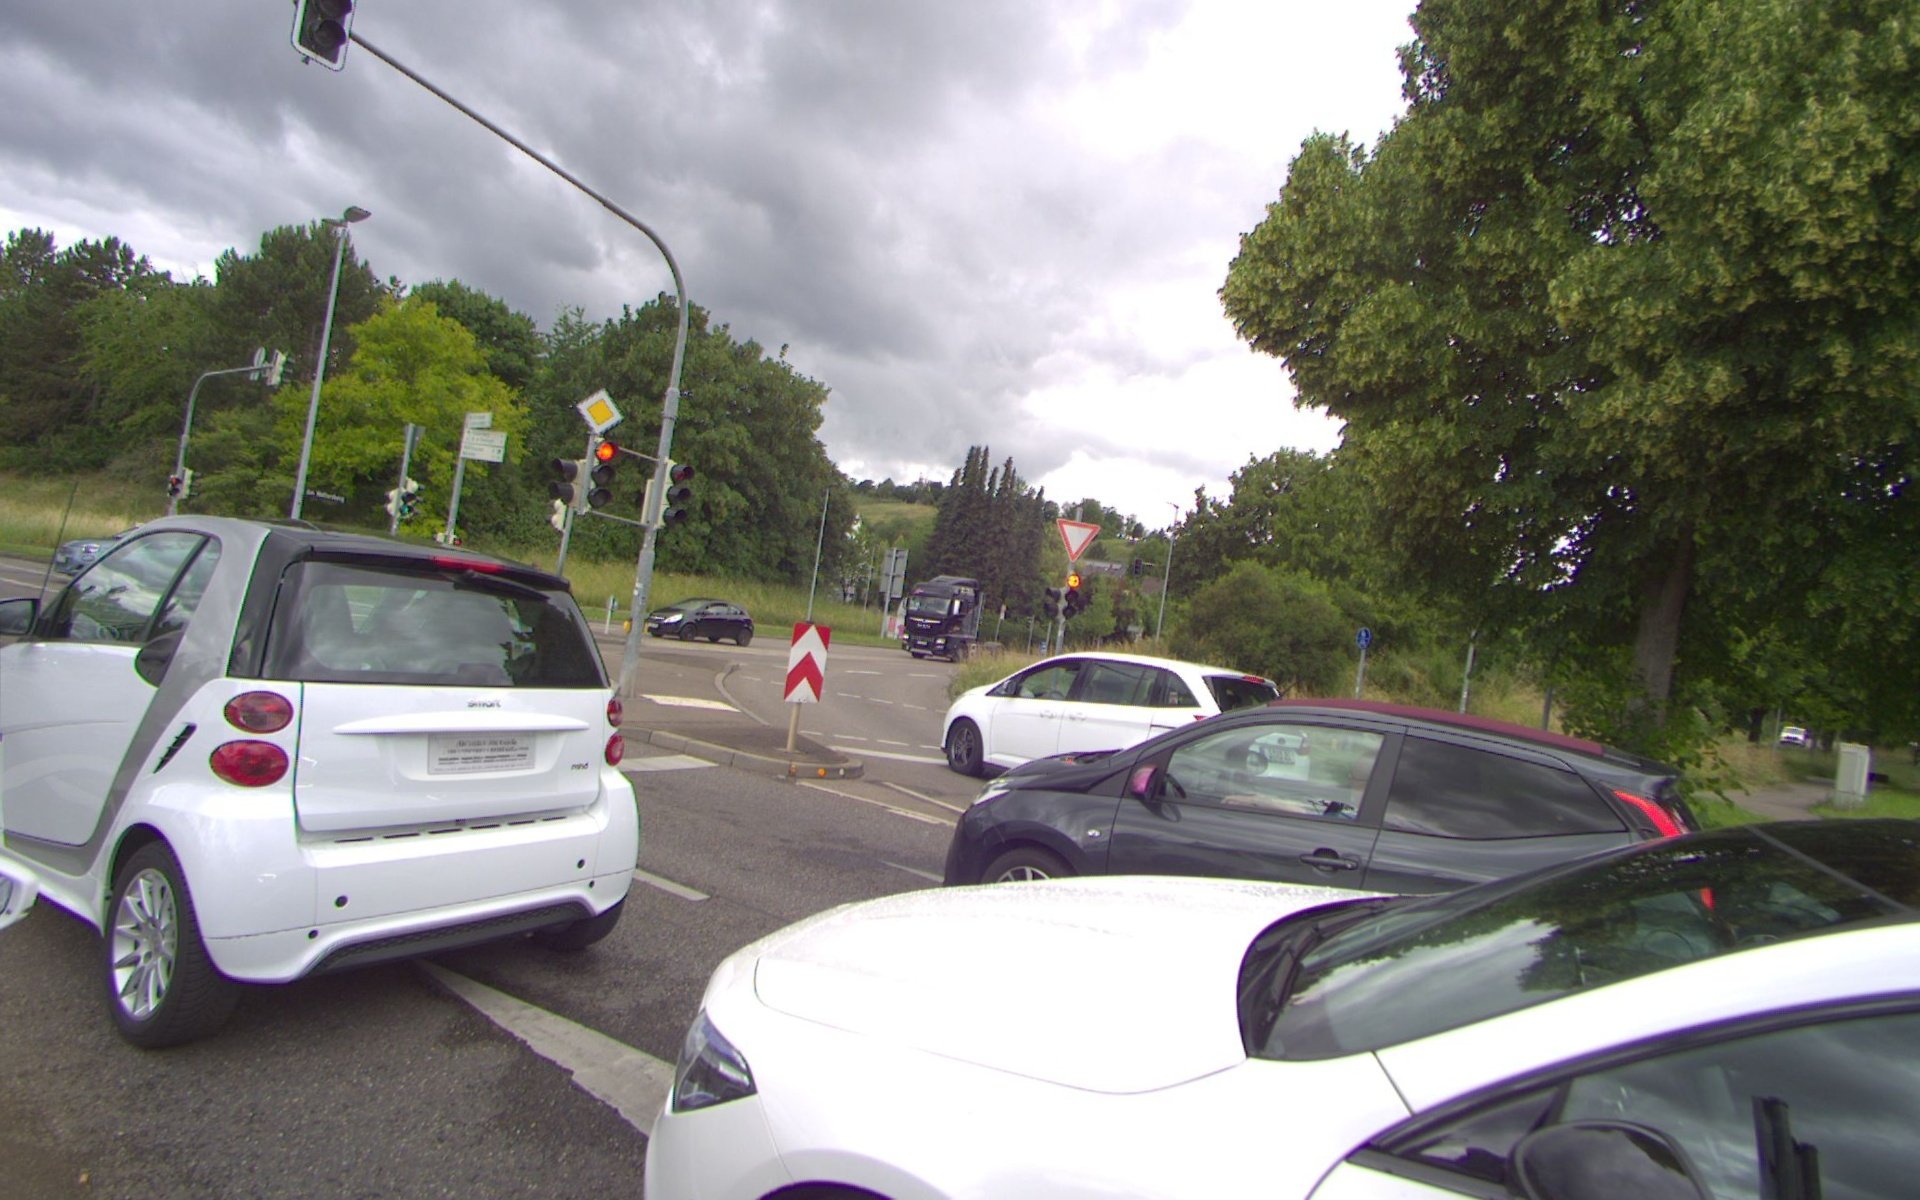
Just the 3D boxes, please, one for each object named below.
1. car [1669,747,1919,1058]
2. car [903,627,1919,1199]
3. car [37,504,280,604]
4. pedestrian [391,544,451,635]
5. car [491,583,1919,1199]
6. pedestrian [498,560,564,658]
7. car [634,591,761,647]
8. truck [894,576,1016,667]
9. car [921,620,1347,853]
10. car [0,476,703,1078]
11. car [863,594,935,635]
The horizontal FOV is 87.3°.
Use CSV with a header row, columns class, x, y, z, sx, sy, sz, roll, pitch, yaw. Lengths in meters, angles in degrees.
class,x,y,z,sx,sy,sz,roll,pitch,yaw
car,6.358,1.911,5.822,3.511,1.524,1.603,6,-2,38
car,1.837,1.118,4.647,3.816,1.470,1.616,6,-2,30
car,-17.064,-0.933,21.584,1.733,1.546,3.596,6,-2,31
pedestrian,-10.644,-0.211,19.864,0.703,1.681,0.644,6,-1,39
car,1.509,1.017,1.470,4.457,1.524,1.847,6,-2,33
pedestrian,-7.667,0.157,17.964,0.703,1.631,0.644,6,-1,37
car,-8.725,0.666,33.749,1.669,1.353,3.882,6,-2,34
truck,-0.126,1.109,47.068,2.646,3.526,6.010,6,-2,31
car,1.632,1.328,10.851,1.752,1.673,4.325,10,-3,-37
car,-2.663,0.443,4.042,2.721,1.533,1.595,6,-2,33
car,-4.974,1.176,81.419,5.739,2.661,1.993,6,-2,39
